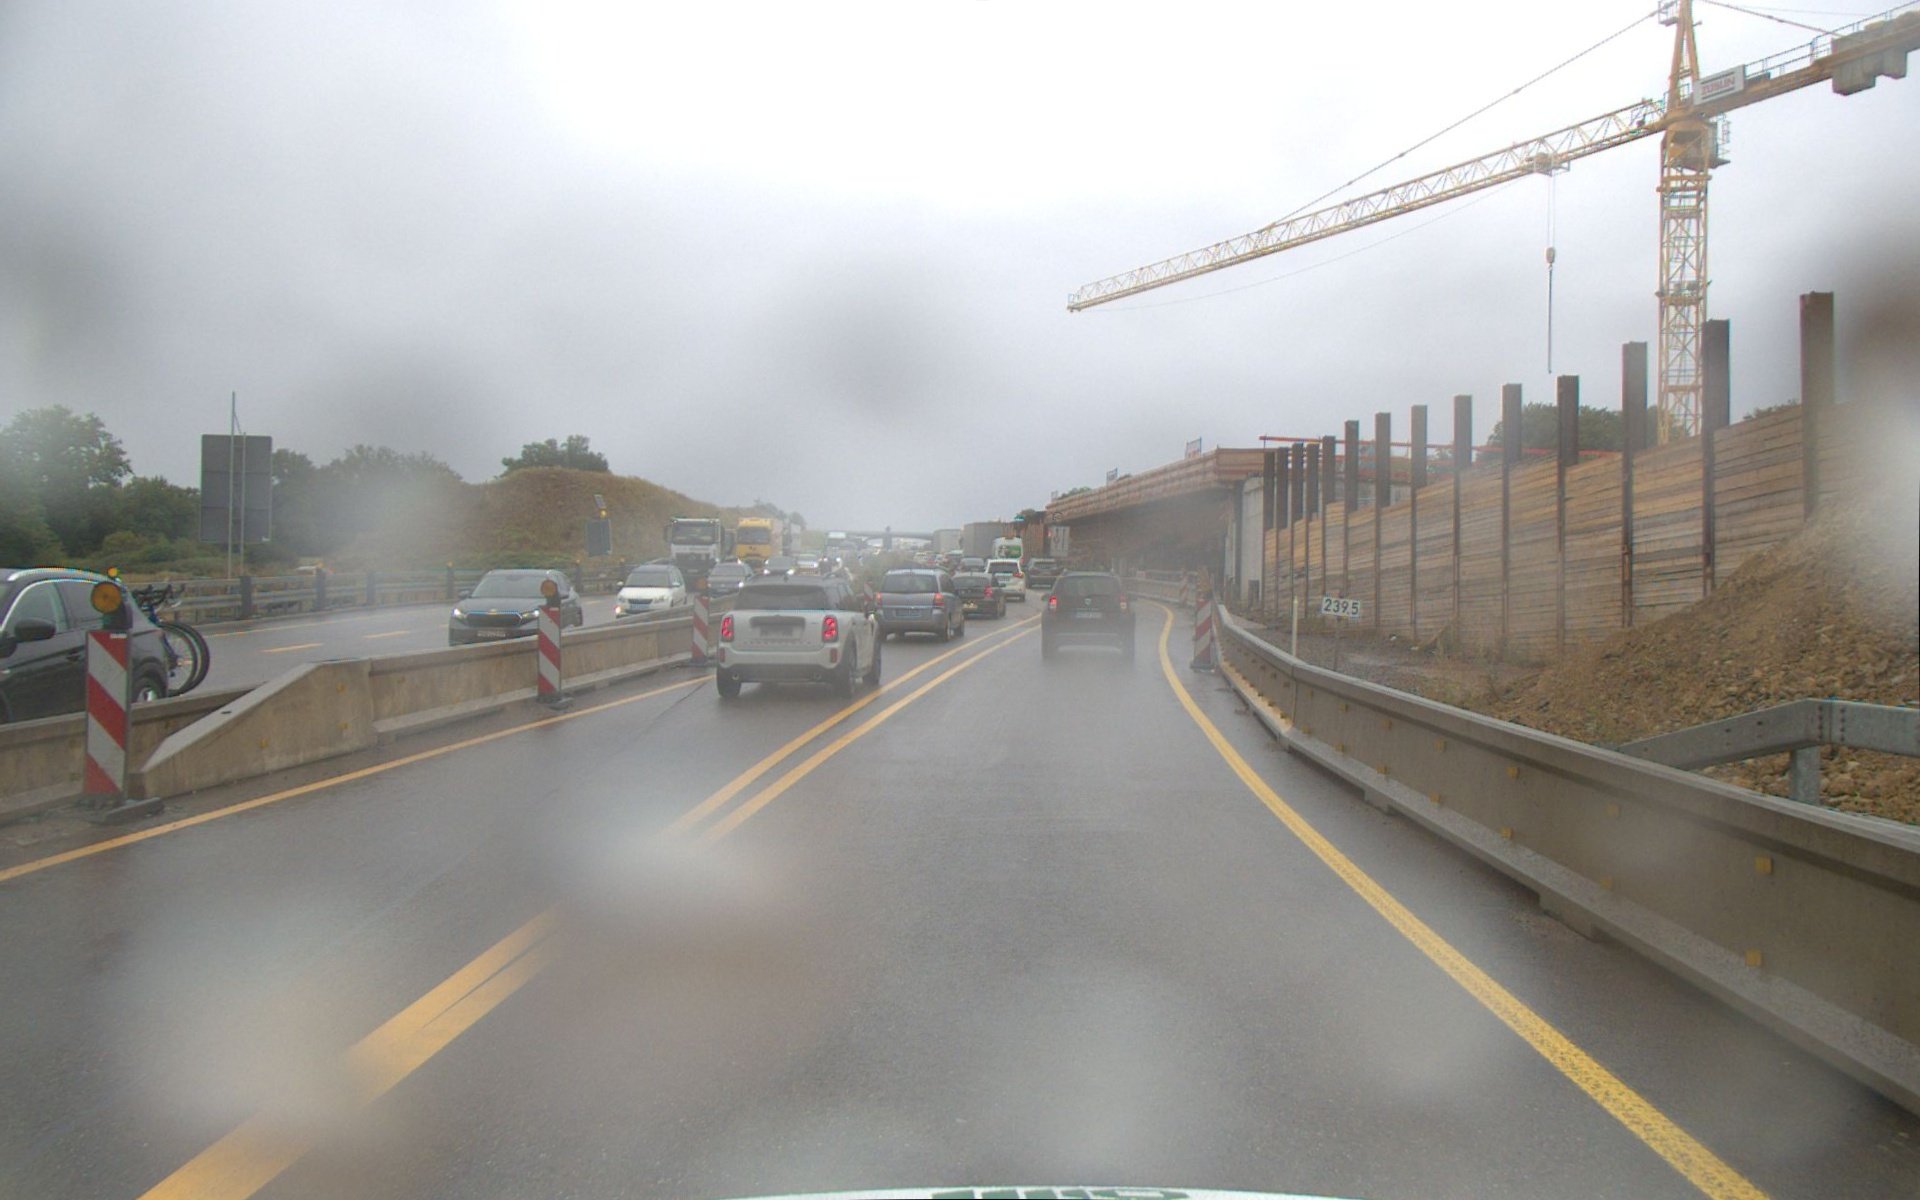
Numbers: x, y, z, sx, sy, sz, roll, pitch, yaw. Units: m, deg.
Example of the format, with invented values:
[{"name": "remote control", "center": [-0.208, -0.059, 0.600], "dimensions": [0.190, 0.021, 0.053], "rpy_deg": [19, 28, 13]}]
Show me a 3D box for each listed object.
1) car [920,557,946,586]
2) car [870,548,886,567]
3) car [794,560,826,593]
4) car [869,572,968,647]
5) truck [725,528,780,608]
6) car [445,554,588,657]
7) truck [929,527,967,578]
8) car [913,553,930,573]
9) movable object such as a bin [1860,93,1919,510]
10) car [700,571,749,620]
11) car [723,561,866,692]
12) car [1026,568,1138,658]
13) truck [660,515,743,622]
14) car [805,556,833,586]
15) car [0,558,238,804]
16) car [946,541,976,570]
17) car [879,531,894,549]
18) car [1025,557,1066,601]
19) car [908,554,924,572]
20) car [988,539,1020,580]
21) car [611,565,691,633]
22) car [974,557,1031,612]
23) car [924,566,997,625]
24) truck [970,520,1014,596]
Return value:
[{"name": "car", "center": [-2.204, -2.334, 137.064], "dimensions": [1.952, 2.201, 4.141], "rpy_deg": [0, -2, 2]}, {"name": "car", "center": [-10.422, -5.386, 209.752], "dimensions": [1.954, 2.049, 3.996], "rpy_deg": [0, -2, -4]}, {"name": "car", "center": [-11.531, -1.773, 127.667], "dimensions": [2.193, 2.400, 4.874], "rpy_deg": [1, -1, -2]}, {"name": "car", "center": [-0.926, 0.274, 39.093], "dimensions": [1.952, 1.629, 4.142], "rpy_deg": [0, -2, 4]}, {"name": "truck", "center": [-14.878, -2.213, 119.179], "dimensions": [3.078, 5.513, 8.519], "rpy_deg": [1, -1, -2]}, {"name": "car", "center": [-8.543, 0.175, 32.237], "dimensions": [1.750, 1.842, 4.496], "rpy_deg": [0, -2, -3]}, {"name": "truck", "center": [-1.478, -5.581, 196.049], "dimensions": [3.728, 5.132, 12.909], "rpy_deg": [0, -2, -4]}, {"name": "car", "center": [-4.417, -4.231, 189.599], "dimensions": [1.812, 1.927, 4.019], "rpy_deg": [0, -2, -2]}, {"name": "movable object such as a bin", "center": [28.531, -8.442, 44.367], "dimensions": [4.617, 11.034, 10.310], "rpy_deg": [0, -3, 11]}, {"name": "car", "center": [-9.478, -0.153, 66.809], "dimensions": [1.590, 1.842, 3.635], "rpy_deg": [0, -2, -2]}, {"name": "car", "center": [-2.223, 0.402, 22.914], "dimensions": [1.780, 1.628, 4.303], "rpy_deg": [0, -2, -4]}, {"name": "car", "center": [2.334, 0.310, 32.303], "dimensions": [2.038, 1.629, 4.141], "rpy_deg": [0, -2, 3]}, {"name": "truck", "center": [-12.764, -1.444, 82.334], "dimensions": [3.021, 5.006, 8.559], "rpy_deg": [1, -1, -2]}, {"name": "car", "center": [-12.228, -2.513, 143.962], "dimensions": [2.172, 2.412, 4.661], "rpy_deg": [1, -1, -2]}, {"name": "car", "center": [-7.627, 0.552, 12.981], "dimensions": [1.703, 1.714, 5.548], "rpy_deg": [1, 0, -3]}, {"name": "car", "center": [0.031, -3.243, 120.898], "dimensions": [1.954, 1.792, 3.811], "rpy_deg": [0, -2, -3]}, {"name": "car", "center": [-9.911, -8.101, 223.902], "dimensions": [1.954, 2.049, 3.996], "rpy_deg": [0, -2, -4]}, {"name": "car", "center": [4.646, -1.125, 90.509], "dimensions": [1.953, 2.201, 4.138], "rpy_deg": [0, -2, -1]}, {"name": "car", "center": [-5.576, -4.677, 210.141], "dimensions": [1.954, 2.049, 3.997], "rpy_deg": [0, -1, -3]}, {"name": "car", "center": [3.002, -2.790, 114.402], "dimensions": [1.953, 2.528, 4.979], "rpy_deg": [0, -2, -1]}, {"name": "car", "center": [-9.149, 0.012, 49.294], "dimensions": [1.750, 1.842, 4.496], "rpy_deg": [0, -2, -3]}, {"name": "car", "center": [1.713, -0.610, 67.548], "dimensions": [1.954, 2.049, 3.890], "rpy_deg": [0, -2, -4]}, {"name": "car", "center": [-0.028, -0.103, 51.769], "dimensions": [1.954, 1.629, 4.136], "rpy_deg": [0, -2, -5]}, {"name": "truck", "center": [2.652, -3.295, 134.207], "dimensions": [3.036, 5.522, 9.446], "rpy_deg": [0, -2, 4]}]
